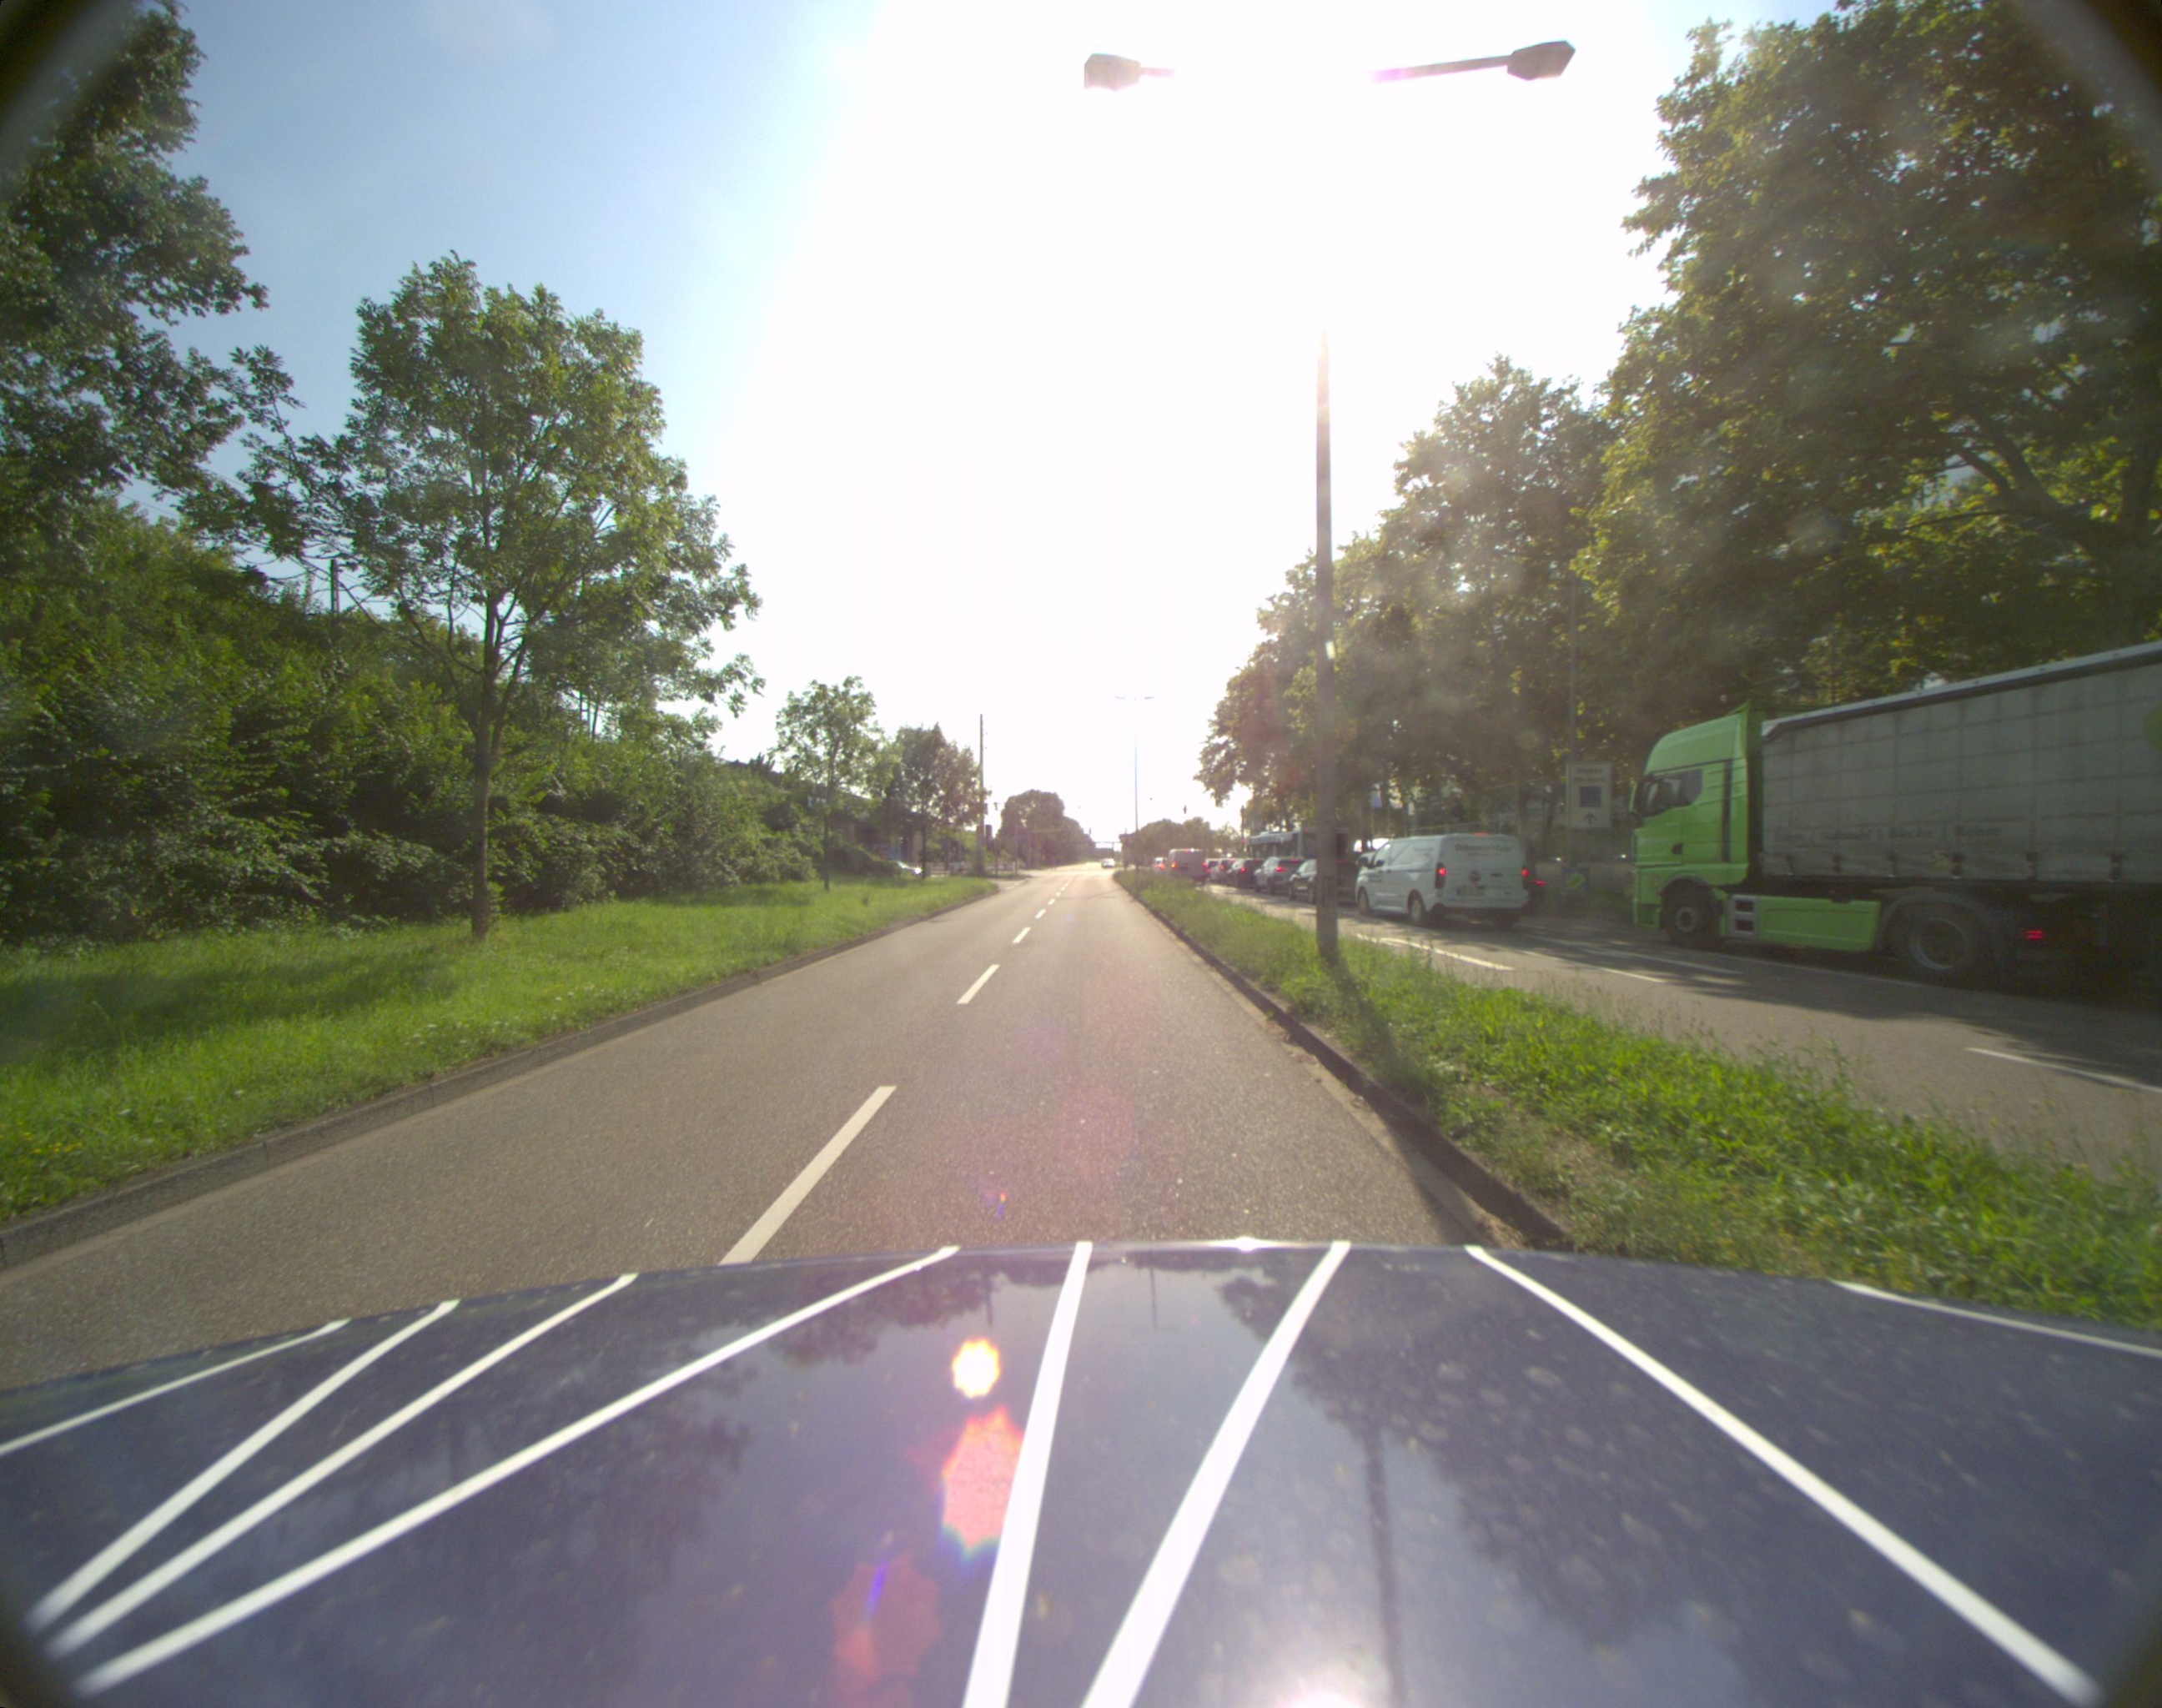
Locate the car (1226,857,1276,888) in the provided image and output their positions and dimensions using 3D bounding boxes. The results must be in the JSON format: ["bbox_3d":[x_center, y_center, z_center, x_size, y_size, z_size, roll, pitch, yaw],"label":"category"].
[{"bbox_3d":[8.465,0.880,38.145,1.651,1.424,4.189,1,0,1],"label":"car"}]

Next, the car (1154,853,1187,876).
[{"bbox_3d":[5.802,0.675,49.560,1.713,1.394,4.084,1,-1,1],"label":"car"}]

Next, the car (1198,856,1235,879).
[{"bbox_3d":[8.896,0.846,50.147,1.710,1.433,4.000,1,0,1],"label":"car"}]

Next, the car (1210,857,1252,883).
[{"bbox_3d":[8.738,0.914,44.640,1.710,1.458,3.822,1,0,1],"label":"car"}]

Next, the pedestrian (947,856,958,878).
[{"bbox_3d":[-9.346,0.945,55.297,0.573,1.558,0.535,-2,1,-40],"label":"pedestrian"}]

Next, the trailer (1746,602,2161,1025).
[{"bbox_3d":[10.982,-0.339,4.142,2.640,3.799,13.811,1,0,1],"label":"trailer"}]

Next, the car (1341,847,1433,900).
[{"bbox_3d":[11.850,0.703,29.776,1.708,1.877,4.748,1,0,1],"label":"car"}]

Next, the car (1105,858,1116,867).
[{"bbox_3d":[4.699,1.334,120.550,1.544,1.433,3.396,0,-1,4],"label":"car"}]

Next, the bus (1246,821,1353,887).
[{"bbox_3d":[11.729,-0.014,42.236,2.596,3.061,12.312,-1,0,1],"label":"bus"}]

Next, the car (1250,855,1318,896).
[{"bbox_3d":[8.251,0.818,31.296,1.699,1.520,4.140,1,0,1],"label":"car"}]

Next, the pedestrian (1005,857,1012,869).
[{"bbox_3d":[-9.372,1.202,98.257,0.636,1.565,0.489,-2,1,-41],"label":"pedestrian"}]

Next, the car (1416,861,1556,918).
[{"bbox_3d":[11.461,0.941,21.882,1.651,1.402,4.480,1,0,1],"label":"car"}]

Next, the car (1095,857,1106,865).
[{"bbox_3d":[3.735,1.335,143.570,1.864,1.584,4.001,0,0,3],"label":"car"}]

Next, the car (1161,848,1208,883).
[{"bbox_3d":[5.653,0.625,42.113,1.916,1.852,4.890,1,-1,0],"label":"car"}]

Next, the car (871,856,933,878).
[{"bbox_3d":[-13.395,0.955,56.908,4.184,1.524,1.874,0,0,22],"label":"car"}]

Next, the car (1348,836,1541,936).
[{"bbox_3d":[7.956,0.619,17.320,1.998,1.942,5.036,0,0,0],"label":"car"}]

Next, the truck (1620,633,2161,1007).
[{"bbox_3d":[11.032,-0.337,10.713,2.614,3.797,5.891,1,0,1],"label":"truck"}]

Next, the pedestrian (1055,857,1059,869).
[{"bbox_3d":[-3.356,1.220,107.396,0.587,1.715,0.647,0,1,-3],"label":"pedestrian"}]

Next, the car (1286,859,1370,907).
[{"bbox_3d":[8.080,0.899,25.168,1.618,1.390,3.858,1,0,2],"label":"car"}]

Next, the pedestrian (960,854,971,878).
[{"bbox_3d":[-8.340,0.860,54.842,0.570,1.672,0.493,0,1,33],"label":"pedestrian"}]
